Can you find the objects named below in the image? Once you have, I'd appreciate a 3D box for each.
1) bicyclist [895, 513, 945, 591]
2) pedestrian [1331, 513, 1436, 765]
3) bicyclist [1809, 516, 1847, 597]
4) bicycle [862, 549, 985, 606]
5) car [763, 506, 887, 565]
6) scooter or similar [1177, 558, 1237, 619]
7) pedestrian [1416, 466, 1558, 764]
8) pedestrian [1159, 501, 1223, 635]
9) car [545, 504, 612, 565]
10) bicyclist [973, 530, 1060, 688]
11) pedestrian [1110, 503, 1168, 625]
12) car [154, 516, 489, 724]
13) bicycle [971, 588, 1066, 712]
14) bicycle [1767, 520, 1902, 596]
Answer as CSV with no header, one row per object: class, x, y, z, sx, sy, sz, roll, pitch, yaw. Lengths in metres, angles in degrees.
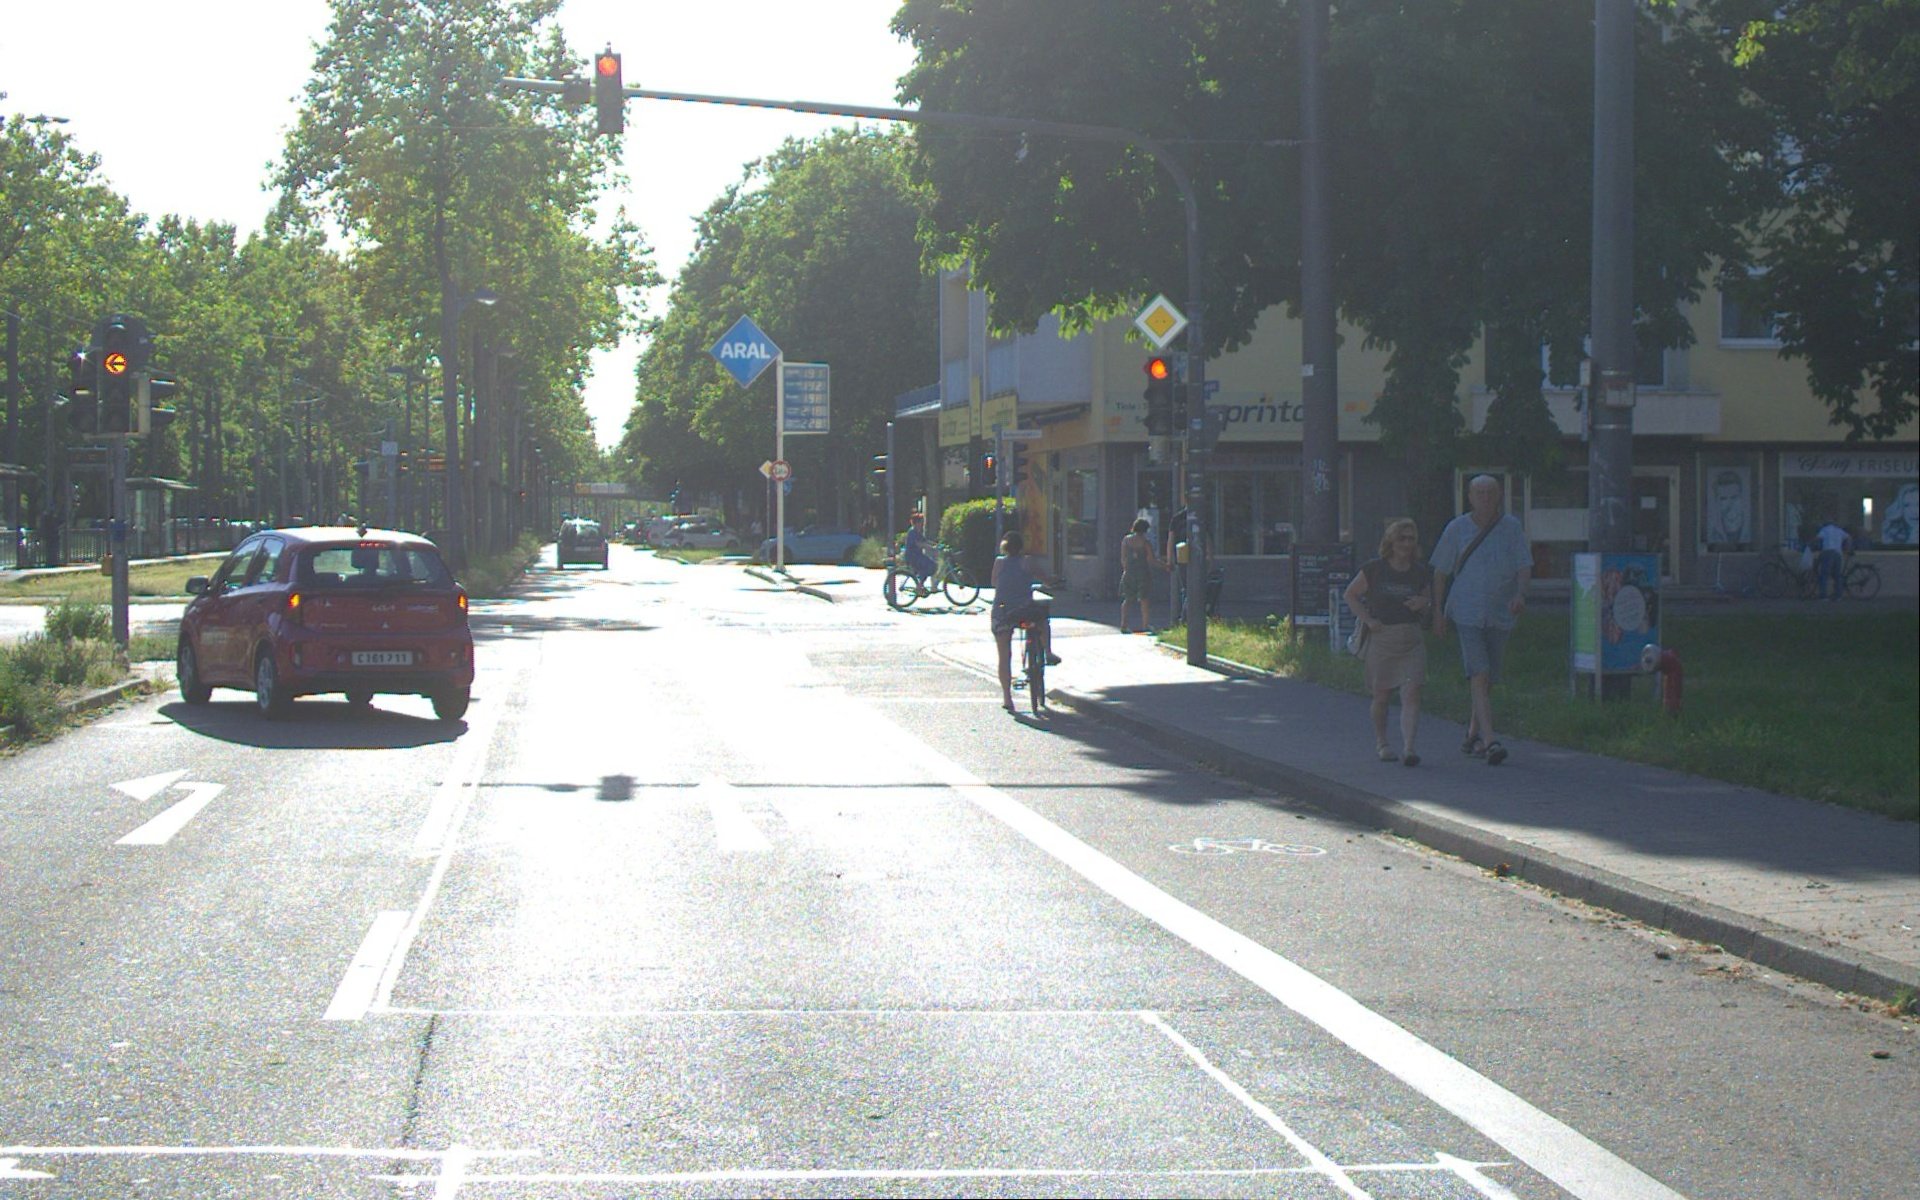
bicyclist,-0.768,-0.930,66.080,0.769,1.466,0.898,-1,2,11
pedestrian,2.624,0.230,21.334,0.529,1.523,0.627,-2,1,-1
bicyclist,16.994,-0.846,67.314,0.527,1.562,0.464,2,1,-8
bicycle,-0.693,-0.438,66.061,2.252,0.984,0.788,1,6,9
car,-4.622,-2.230,118.267,3.988,1.853,2.011,2,1,5
scooter or similar,3.099,-0.148,43.174,0.597,0.735,0.681,2,1,-7
pedestrian,3.259,0.081,21.305,0.703,1.783,0.694,-3,3,0
pedestrian,2.944,-0.411,43.781,0.730,1.676,0.532,2,1,6
car,-12.309,-2.115,110.740,1.968,1.853,4.001,2,1,-8
bicyclist,0.483,0.069,29.696,0.638,1.318,0.803,2,1,-4
pedestrian,2.282,-0.464,43.744,0.647,1.517,0.496,2,1,6
car,-5.214,0.123,27.726,1.694,1.503,3.700,1,1,-26
bicycle,0.490,0.413,29.533,0.648,0.969,1.804,2,1,-3
bicycle,17.266,-0.834,67.895,2.469,1.394,0.608,2,1,-7
